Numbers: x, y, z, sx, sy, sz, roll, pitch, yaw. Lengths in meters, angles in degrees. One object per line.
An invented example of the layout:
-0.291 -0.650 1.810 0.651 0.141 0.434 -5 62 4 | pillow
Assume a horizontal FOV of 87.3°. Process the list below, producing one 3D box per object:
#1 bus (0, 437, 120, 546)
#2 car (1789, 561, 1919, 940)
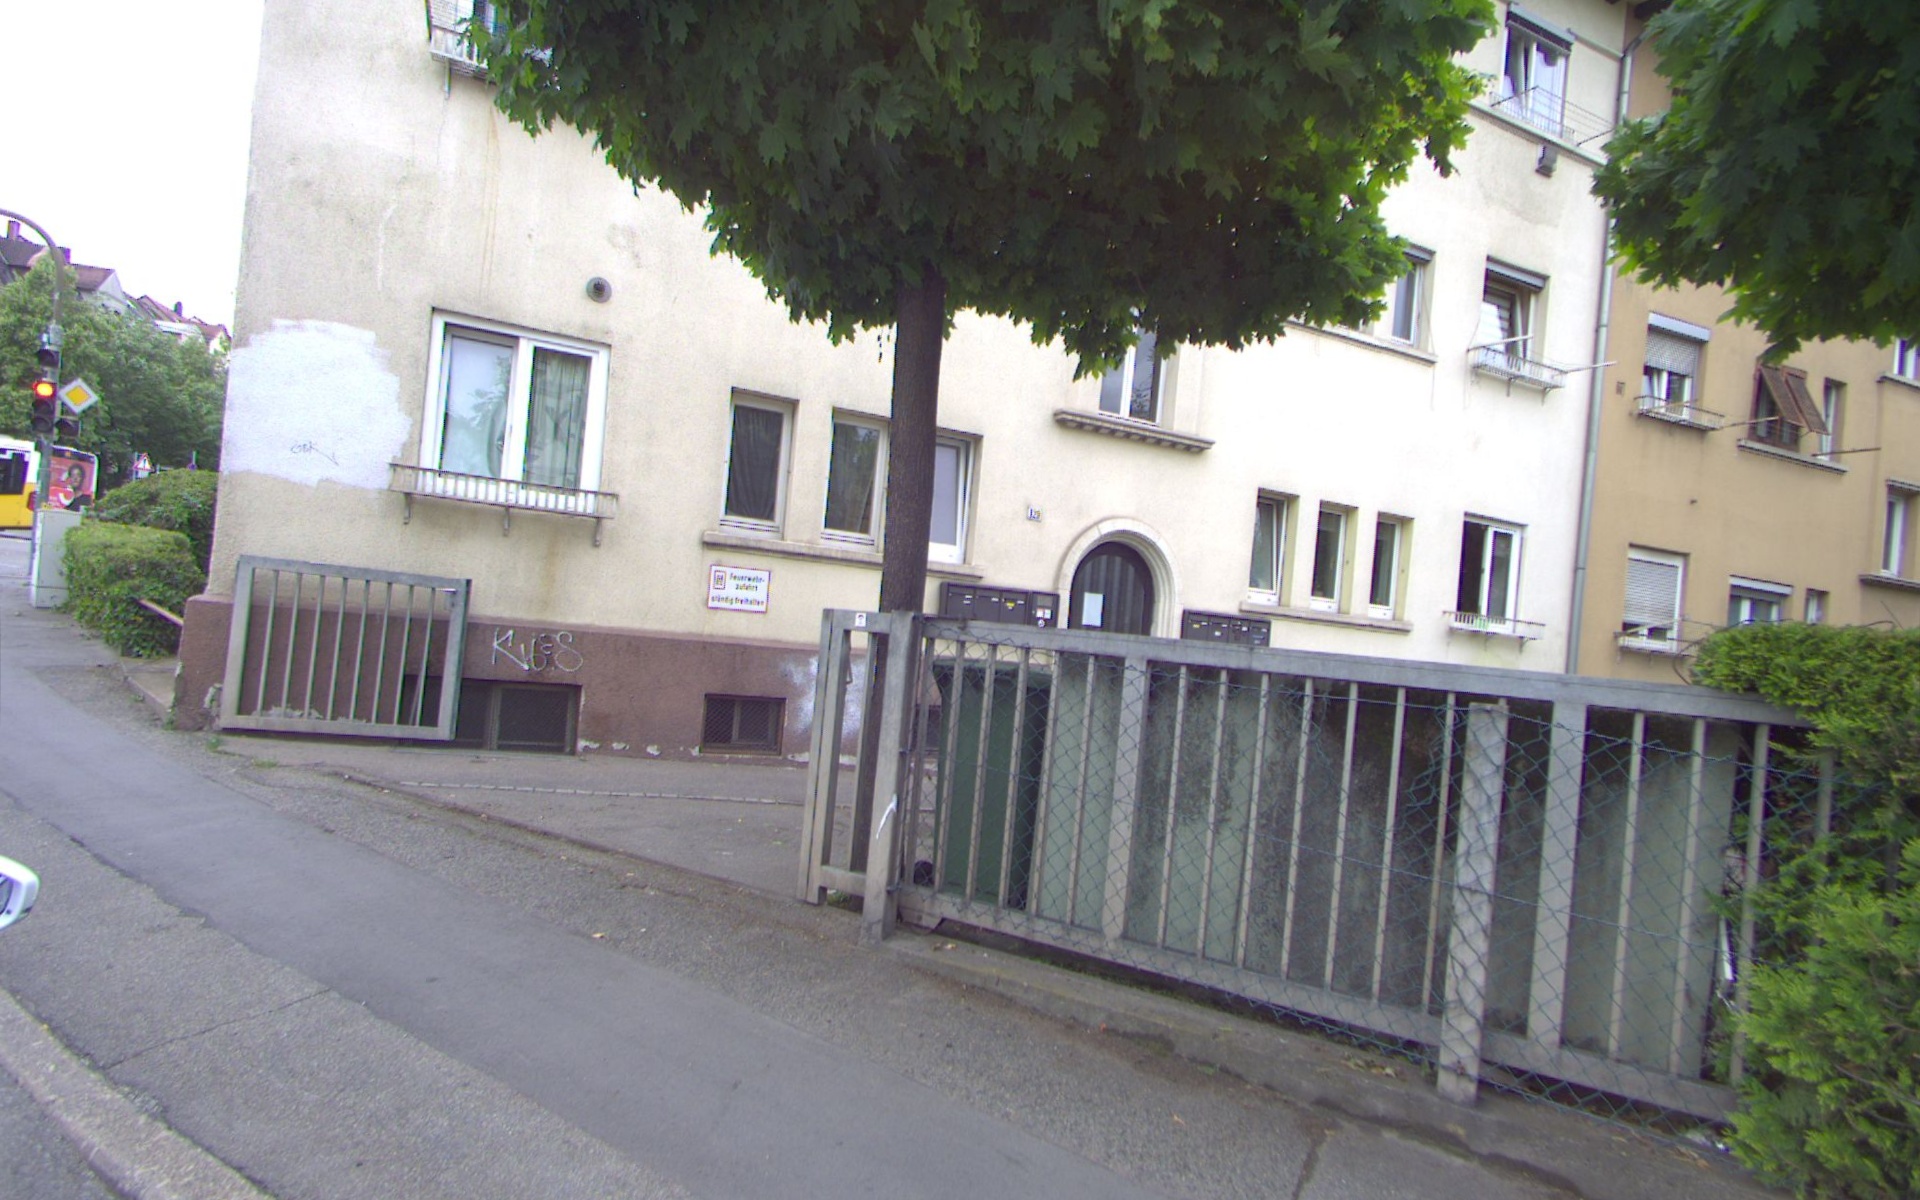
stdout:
-35.106 -4.093 32.820 11.935 3.135 3.164 6 0 -6 | bus
5.552 0.801 3.781 3.381 1.477 1.700 6 -2 30 | car
